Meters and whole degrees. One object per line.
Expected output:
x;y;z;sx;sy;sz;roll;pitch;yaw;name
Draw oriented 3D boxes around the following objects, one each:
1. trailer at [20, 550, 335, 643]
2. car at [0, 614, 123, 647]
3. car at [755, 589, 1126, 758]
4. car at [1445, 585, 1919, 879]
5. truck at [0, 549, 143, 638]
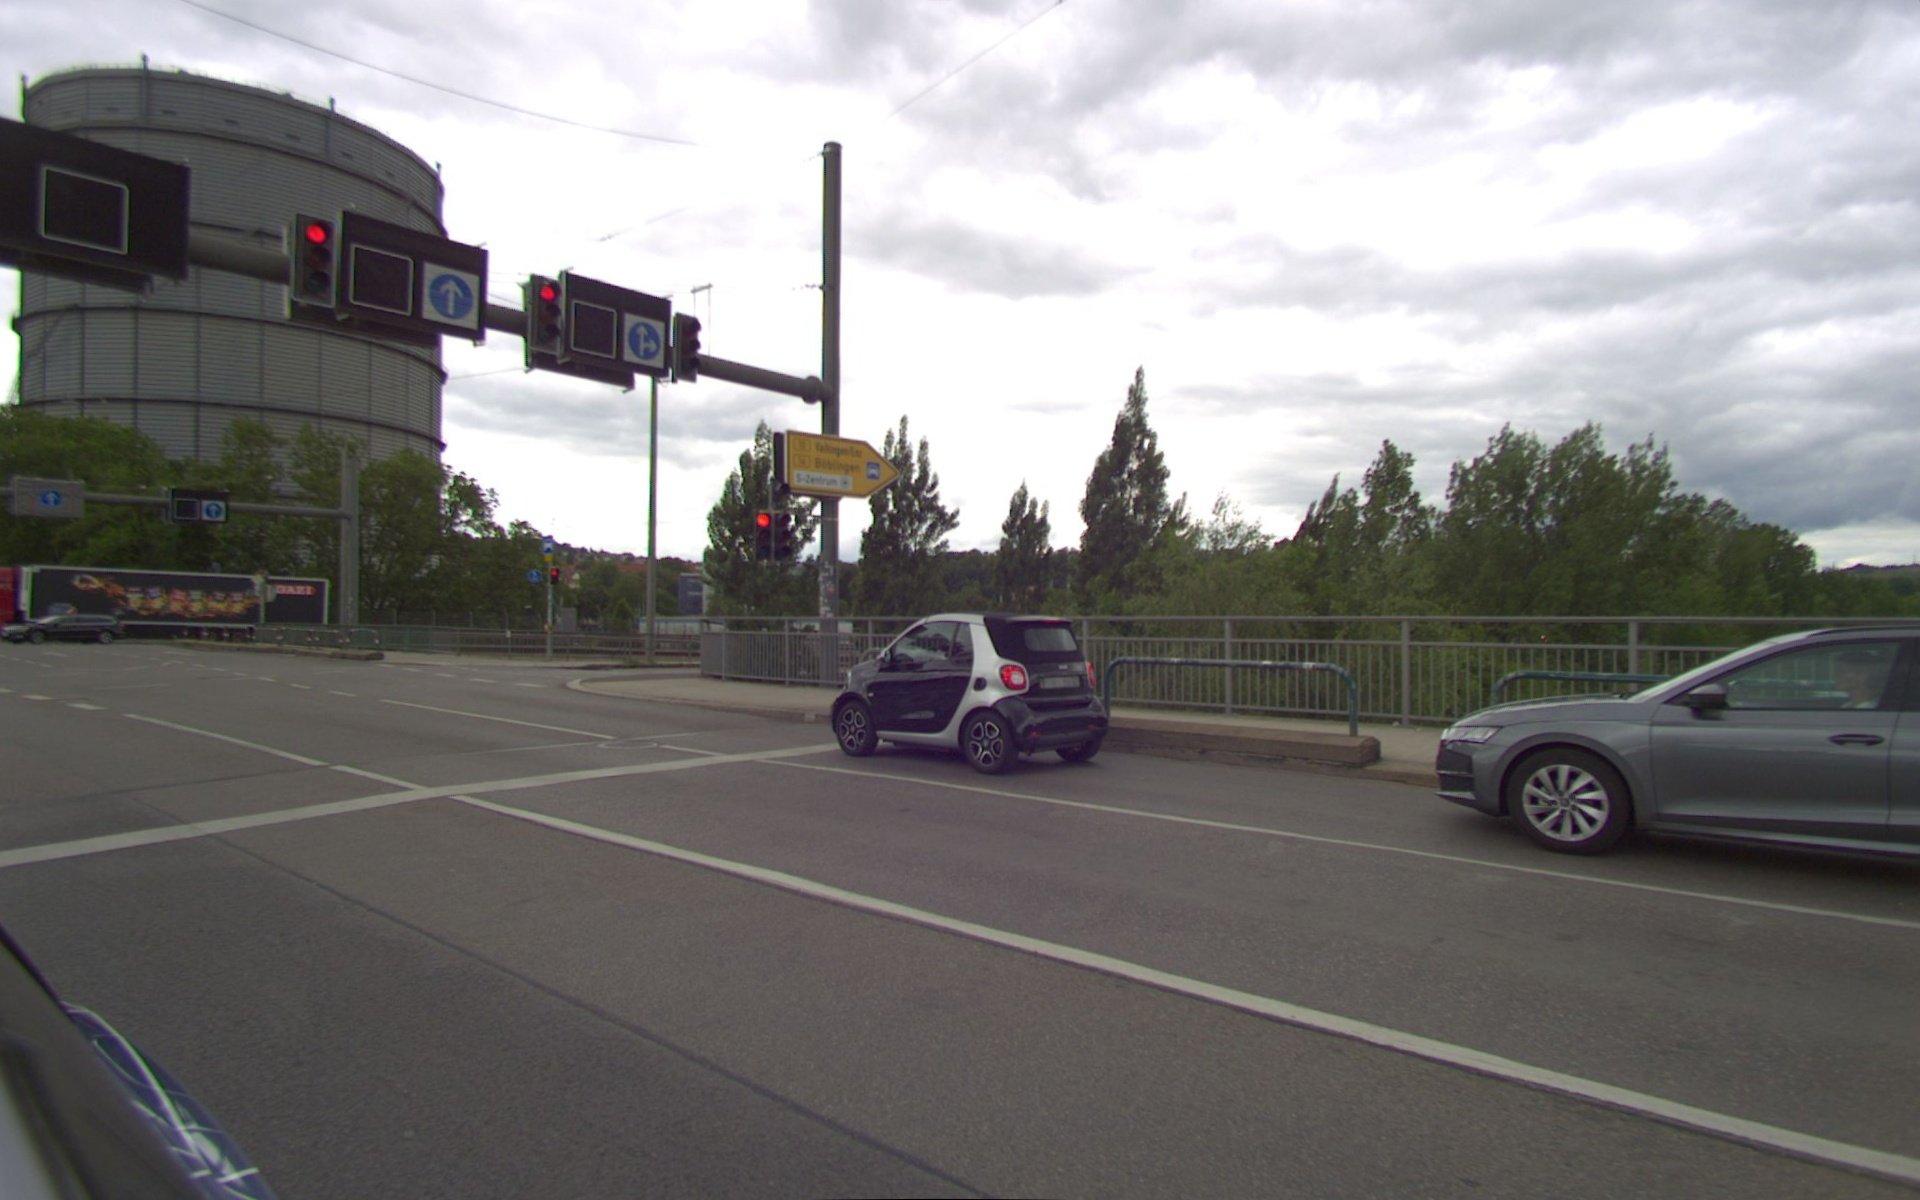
-43.728;0.027;57.501;13.553;4.354;3.680;4;-4;-35;trailer
-42.882;1.461;48.087;1.689;1.431;4.426;0;-3;27;car
-0.319;0.724;11.079;3.870;1.516;1.816;-1;-3;42;car
5.514;0.711;5.945;4.513;1.516;1.817;-1;-3;40;car
-48.967;-0.286;54.265;7.110;4.354;3.683;3;-4;-24;truck
